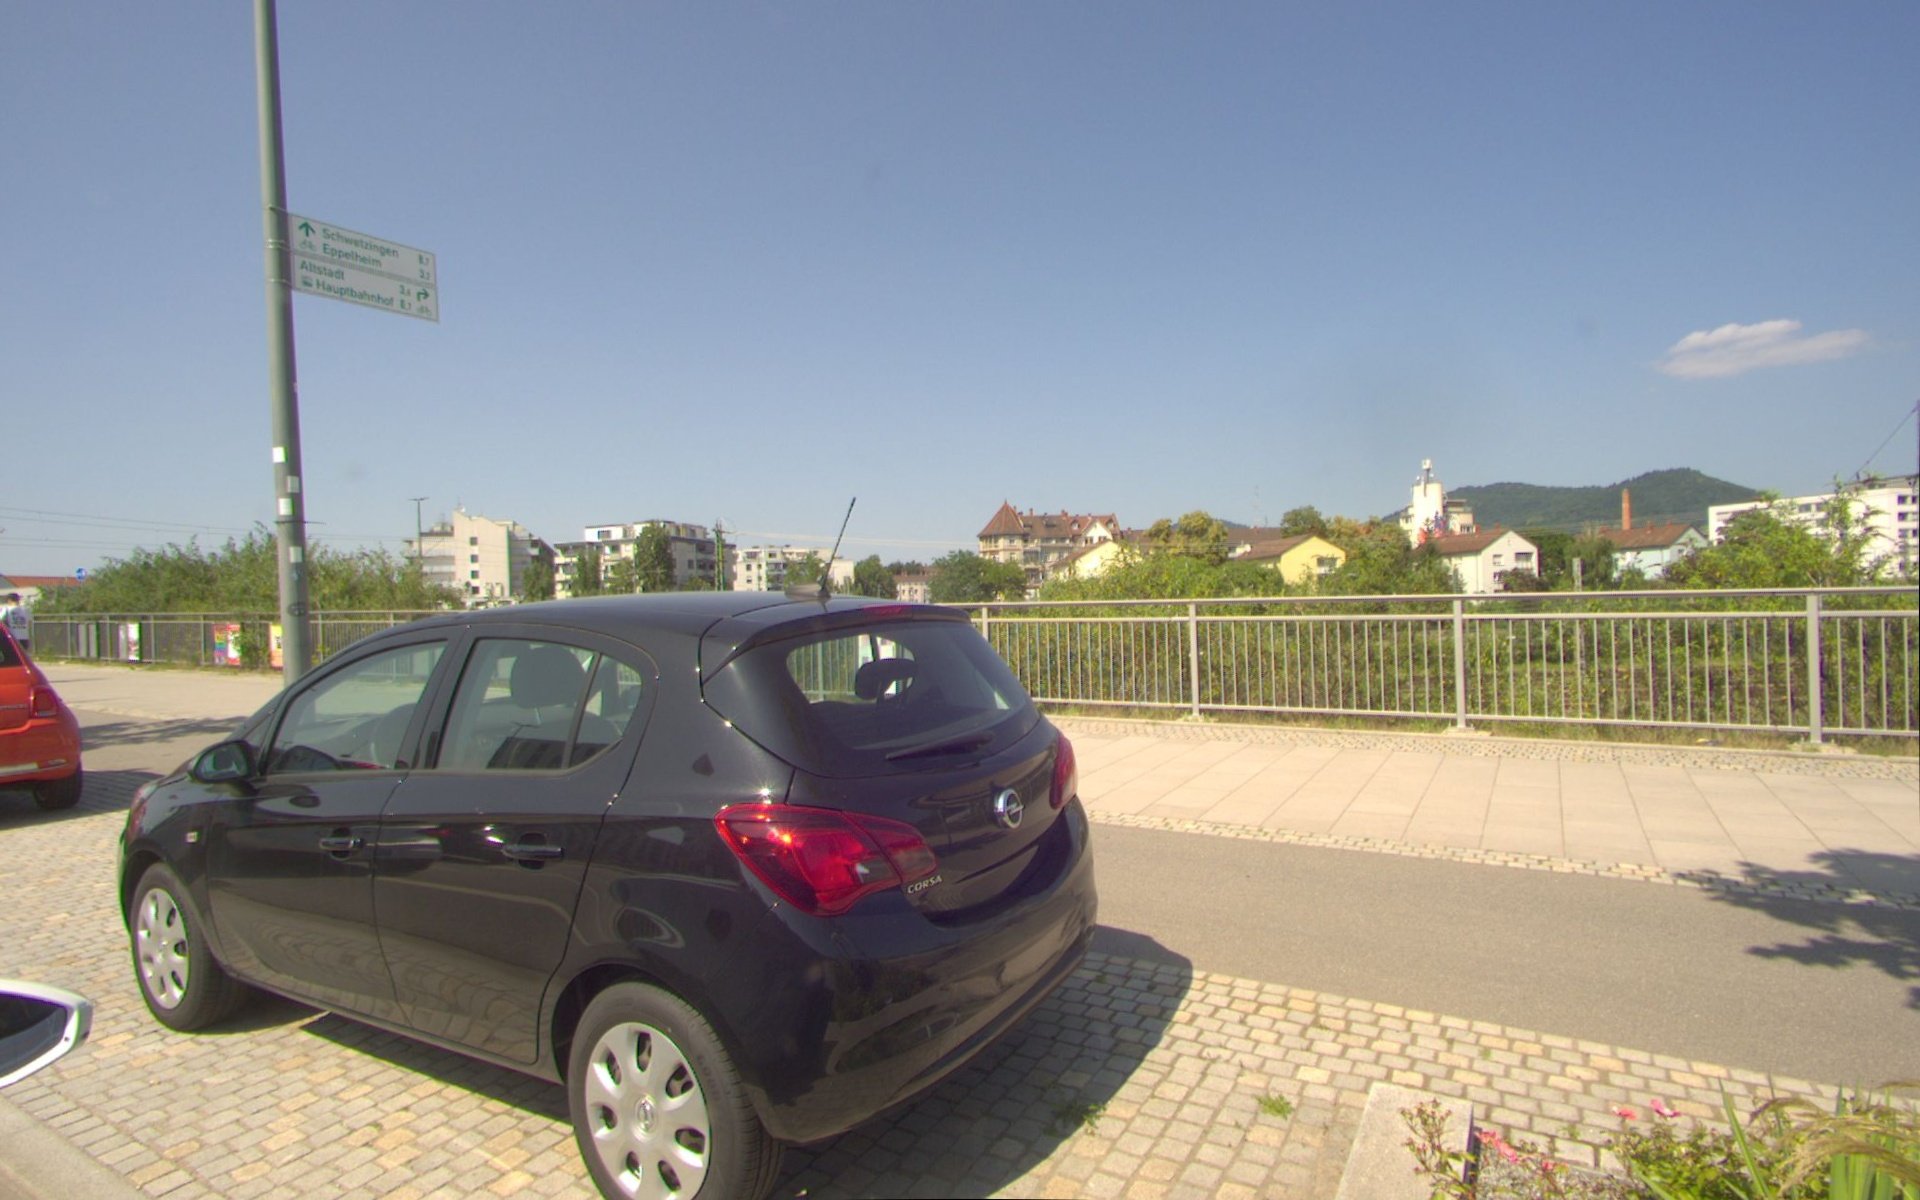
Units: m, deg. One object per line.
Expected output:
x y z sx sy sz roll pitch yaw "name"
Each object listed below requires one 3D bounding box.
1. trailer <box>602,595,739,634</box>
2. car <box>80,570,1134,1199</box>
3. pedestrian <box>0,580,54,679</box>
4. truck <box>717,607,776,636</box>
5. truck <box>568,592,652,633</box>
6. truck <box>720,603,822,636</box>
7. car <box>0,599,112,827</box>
-26.849 1.551 94.561 3.674 3.243 17.244 -1 -3 17 "trailer"
-1.342 0.739 3.487 3.495 1.577 1.577 -1 2 32 "car"
-18.192 0.583 19.371 0.872 1.853 0.757 -1 -2 32 "pedestrian"
-25.237 2.591 119.098 2.459 3.197 9.899 -1 -2 16 "truck"
-29.682 1.161 85.149 3.672 3.244 6.485 -1 -2 17 "truck"
-21.153 2.384 114.335 3.674 3.243 17.876 -1 -3 17 "truck"
-8.366 0.799 7.789 3.862 1.561 1.665 0 2 34 "car"
